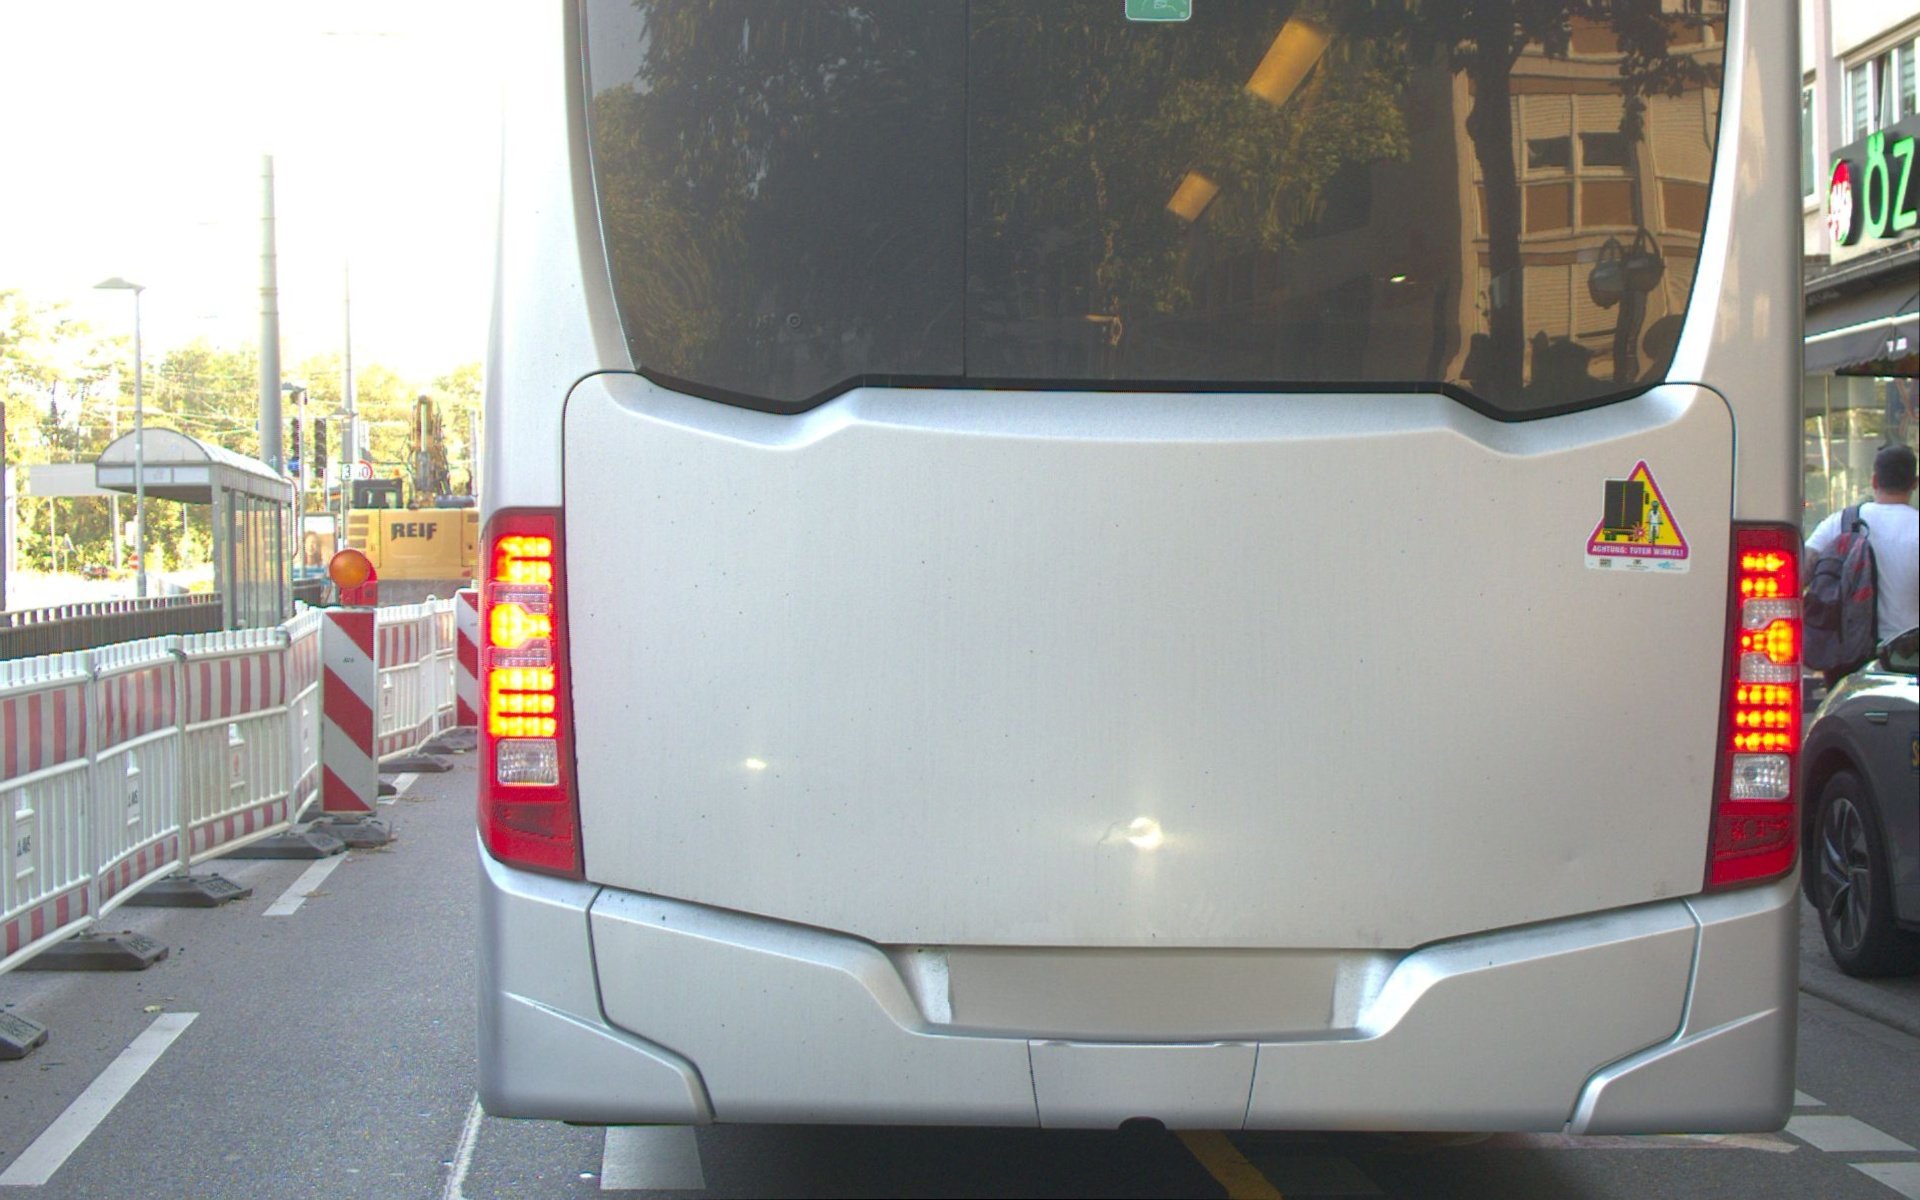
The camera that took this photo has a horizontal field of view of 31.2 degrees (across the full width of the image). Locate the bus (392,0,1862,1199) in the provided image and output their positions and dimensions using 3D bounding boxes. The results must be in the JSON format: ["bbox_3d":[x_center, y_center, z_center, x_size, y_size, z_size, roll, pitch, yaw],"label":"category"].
[{"bbox_3d":[0.272,-0.283,11.254,2.608,3.159,10.292,0,1,0],"label":"bus"}]

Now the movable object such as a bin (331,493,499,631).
[{"bbox_3d":[-10.043,-0.714,63.677,2.806,2.453,4.001,-1,1,-5],"label":"movable object such as a bin"}]

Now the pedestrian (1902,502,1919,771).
[{"bbox_3d":[7.468,0.270,25.670,0.612,2.007,0.696,-1,0,-5],"label":"pedestrian"}]

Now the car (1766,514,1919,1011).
[{"bbox_3d":[4.000,0.495,10.310,1.739,1.592,4.300,-3,1,-5],"label":"car"}]

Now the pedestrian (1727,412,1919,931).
[{"bbox_3d":[3.650,0.270,13.807,0.712,2.007,0.771,-3,1,-44],"label":"pedestrian"}]

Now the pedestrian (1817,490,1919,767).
[{"bbox_3d":[6.802,0.203,25.415,0.690,2.007,0.696,-1,0,-4],"label":"pedestrian"}]
